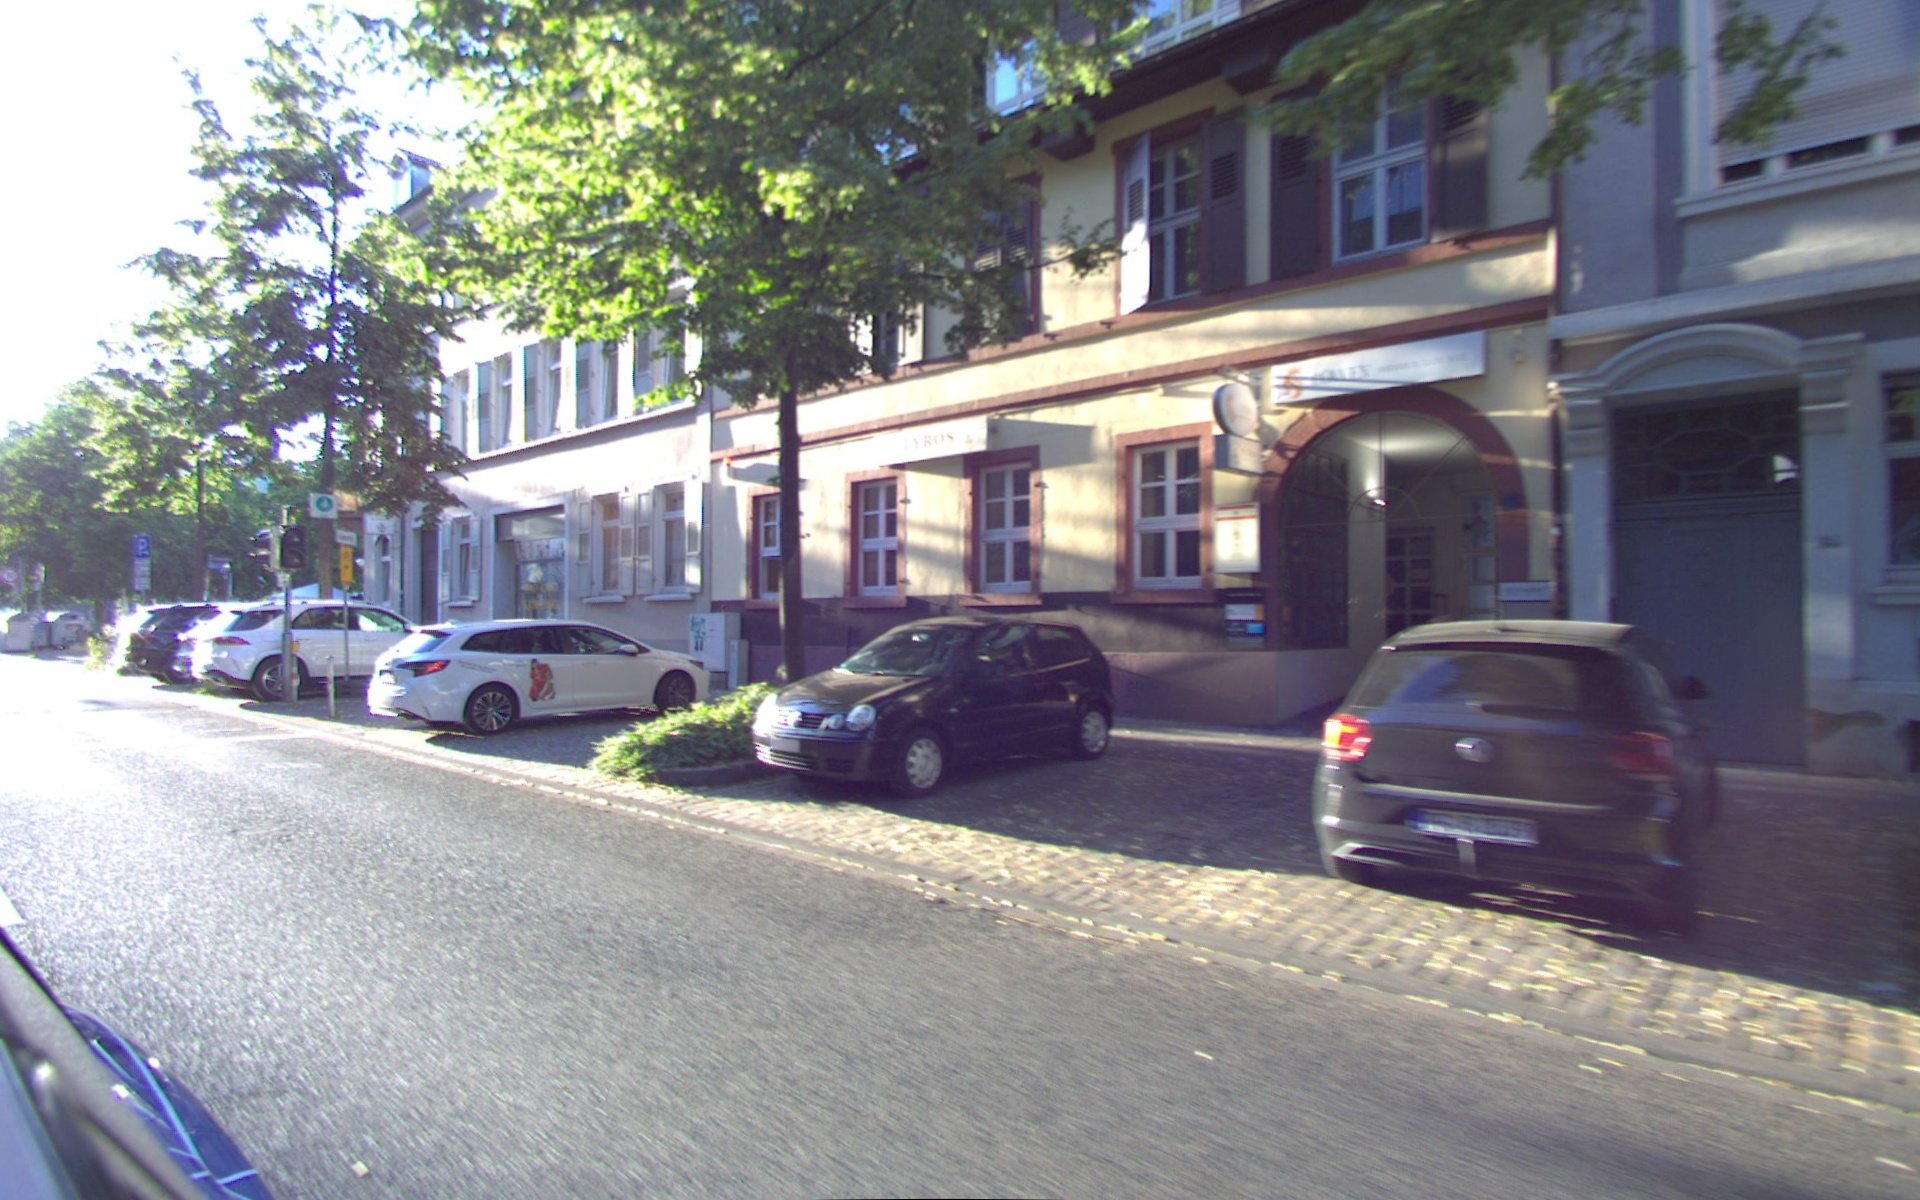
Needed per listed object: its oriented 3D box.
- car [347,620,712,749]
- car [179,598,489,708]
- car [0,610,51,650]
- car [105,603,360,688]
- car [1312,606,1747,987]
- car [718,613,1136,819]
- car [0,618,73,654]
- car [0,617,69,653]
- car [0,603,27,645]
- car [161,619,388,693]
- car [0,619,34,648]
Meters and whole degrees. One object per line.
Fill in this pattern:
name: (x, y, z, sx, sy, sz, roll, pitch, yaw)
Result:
car: (-5.821, 1.038, 14.117, 1.821, 1.434, 4.337, -1, -1, 41)
car: (-11.771, 0.904, 19.277, 2.052, 1.825, 4.657, -1, -1, 42)
car: (-47.598, 1.463, 49.549, 1.876, 1.948, 4.566, 0, -2, 3)
car: (-16.936, 1.004, 23.741, 1.945, 1.796, 4.509, 0, -1, 40)
car: (3.649, 0.808, 6.107, 1.695, 1.459, 3.877, -1, 0, 38)
car: (-0.154, 0.889, 9.460, 1.789, 1.459, 3.743, -1, -1, 43)
car: (-42.503, 1.589, 45.111, 1.790, 1.569, 4.566, 0, -2, 3)
car: (-44.950, 1.637, 47.609, 1.876, 1.645, 4.566, 0, -2, 3)
car: (-55.323, 1.334, 56.205, 2.136, 2.376, 4.755, 0, -2, 13)
car: (-14.858, 1.146, 22.062, 1.820, 1.472, 3.775, -1, -2, 42)
car: (-52.894, 1.789, 54.149, 2.114, 1.594, 4.553, 0, -2, 12)
